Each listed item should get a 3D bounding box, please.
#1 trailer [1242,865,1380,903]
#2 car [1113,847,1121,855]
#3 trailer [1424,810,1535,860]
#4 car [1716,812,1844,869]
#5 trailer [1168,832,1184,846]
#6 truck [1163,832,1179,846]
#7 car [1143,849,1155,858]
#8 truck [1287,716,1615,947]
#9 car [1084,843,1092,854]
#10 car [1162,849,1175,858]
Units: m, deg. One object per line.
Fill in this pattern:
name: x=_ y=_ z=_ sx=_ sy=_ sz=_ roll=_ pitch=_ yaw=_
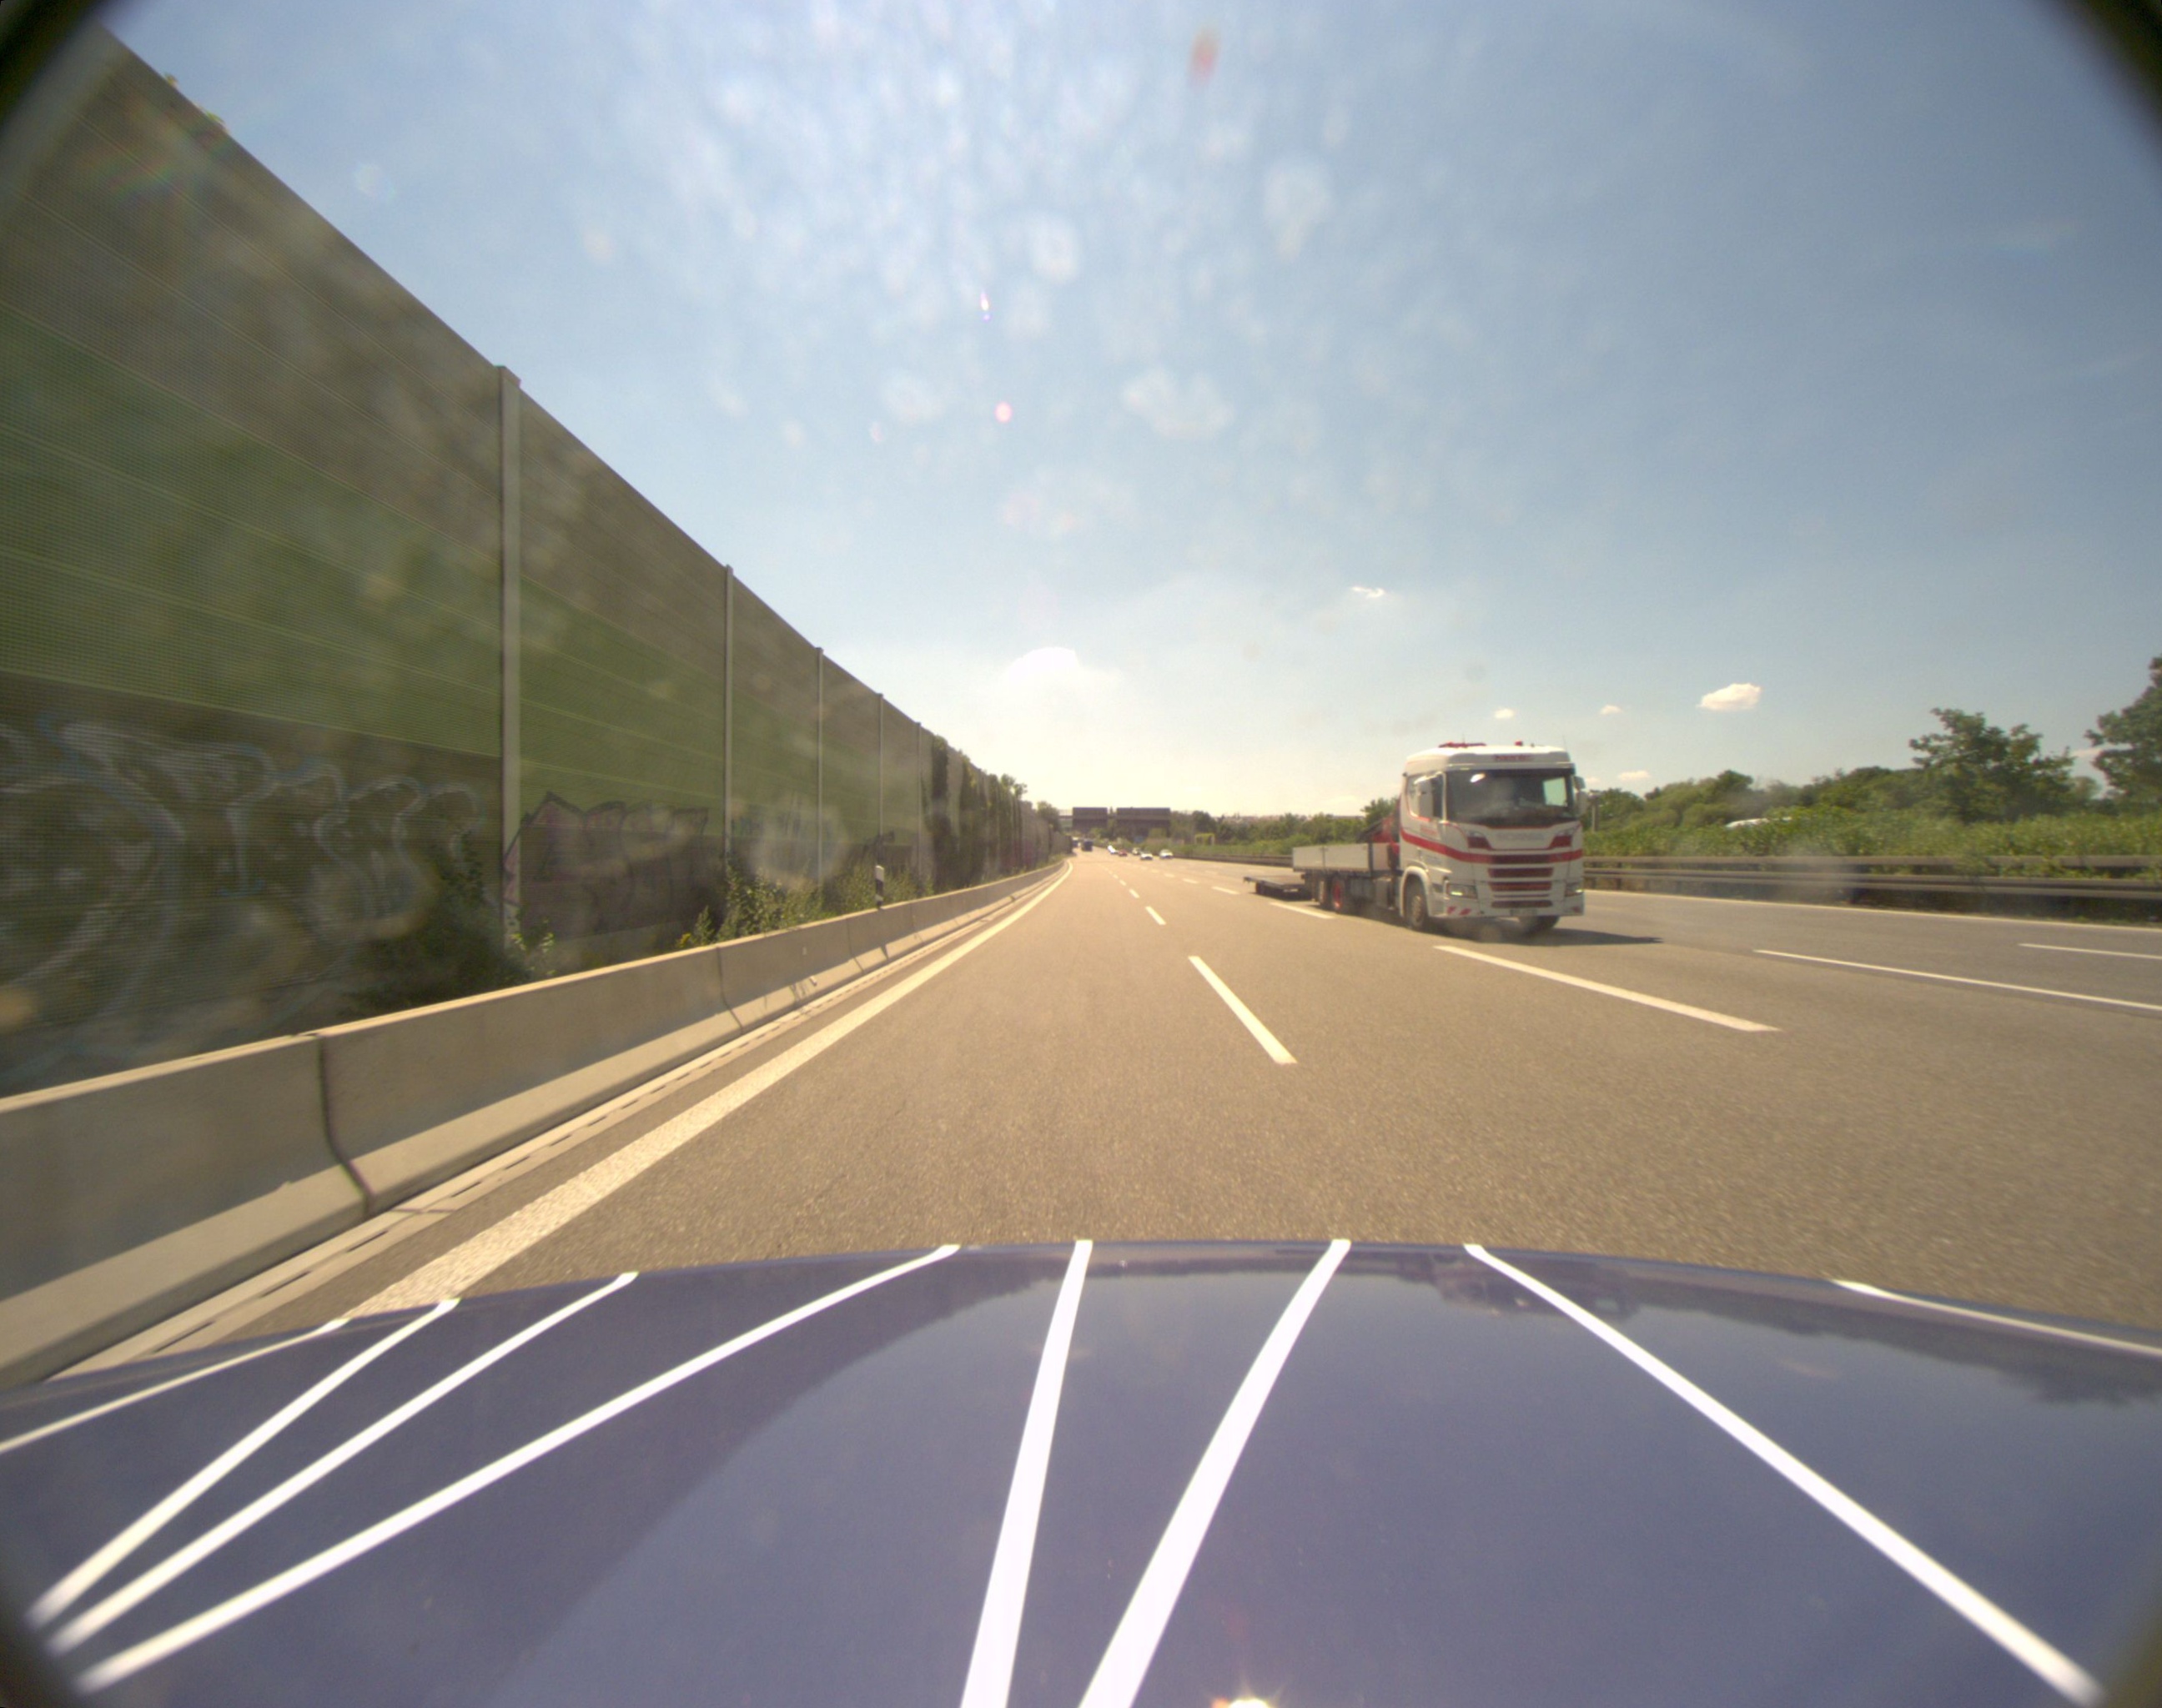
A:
trailer: x=7.884 y=0.973 z=27.161 sx=2.721 sy=0.929 sz=7.759 roll=-1 pitch=0 yaw=1
car: x=9.238 y=-0.776 z=193.569 sx=1.998 sy=1.832 sz=4.000 roll=-2 pitch=0 yaw=2
trailer: x=34.974 y=-1.588 z=67.670 sx=2.544 sy=3.924 sz=13.719 roll=-1 pitch=0 yaw=0
car: x=30.501 y=-0.567 z=33.335 sx=1.972 sy=2.291 sz=3.983 roll=-1 pitch=0 yaw=2
trailer: x=26.816 y=-4.234 z=214.540 sx=2.931 sy=3.945 sz=8.655 roll=-1 pitch=1 yaw=-2
truck: x=26.476 y=-4.407 z=223.989 sx=3.009 sy=3.945 sz=10.317 roll=-1 pitch=1 yaw=-2
car: x=11.611 y=-0.106 z=130.588 sx=1.786 sy=1.494 sz=4.171 roll=0 pitch=0 yaw=1
truck: x=7.597 y=-0.400 z=17.966 sx=2.721 sy=3.780 sz=10.672 roll=-1 pitch=0 yaw=1
car: x=2.219 y=-1.795 z=244.286 sx=2.116 sy=3.284 sz=6.442 roll=-2 pitch=0 yaw=-4
car: x=15.477 y=-0.063 z=134.556 sx=1.883 sy=1.543 sz=4.001 roll=-2 pitch=0 yaw=2
